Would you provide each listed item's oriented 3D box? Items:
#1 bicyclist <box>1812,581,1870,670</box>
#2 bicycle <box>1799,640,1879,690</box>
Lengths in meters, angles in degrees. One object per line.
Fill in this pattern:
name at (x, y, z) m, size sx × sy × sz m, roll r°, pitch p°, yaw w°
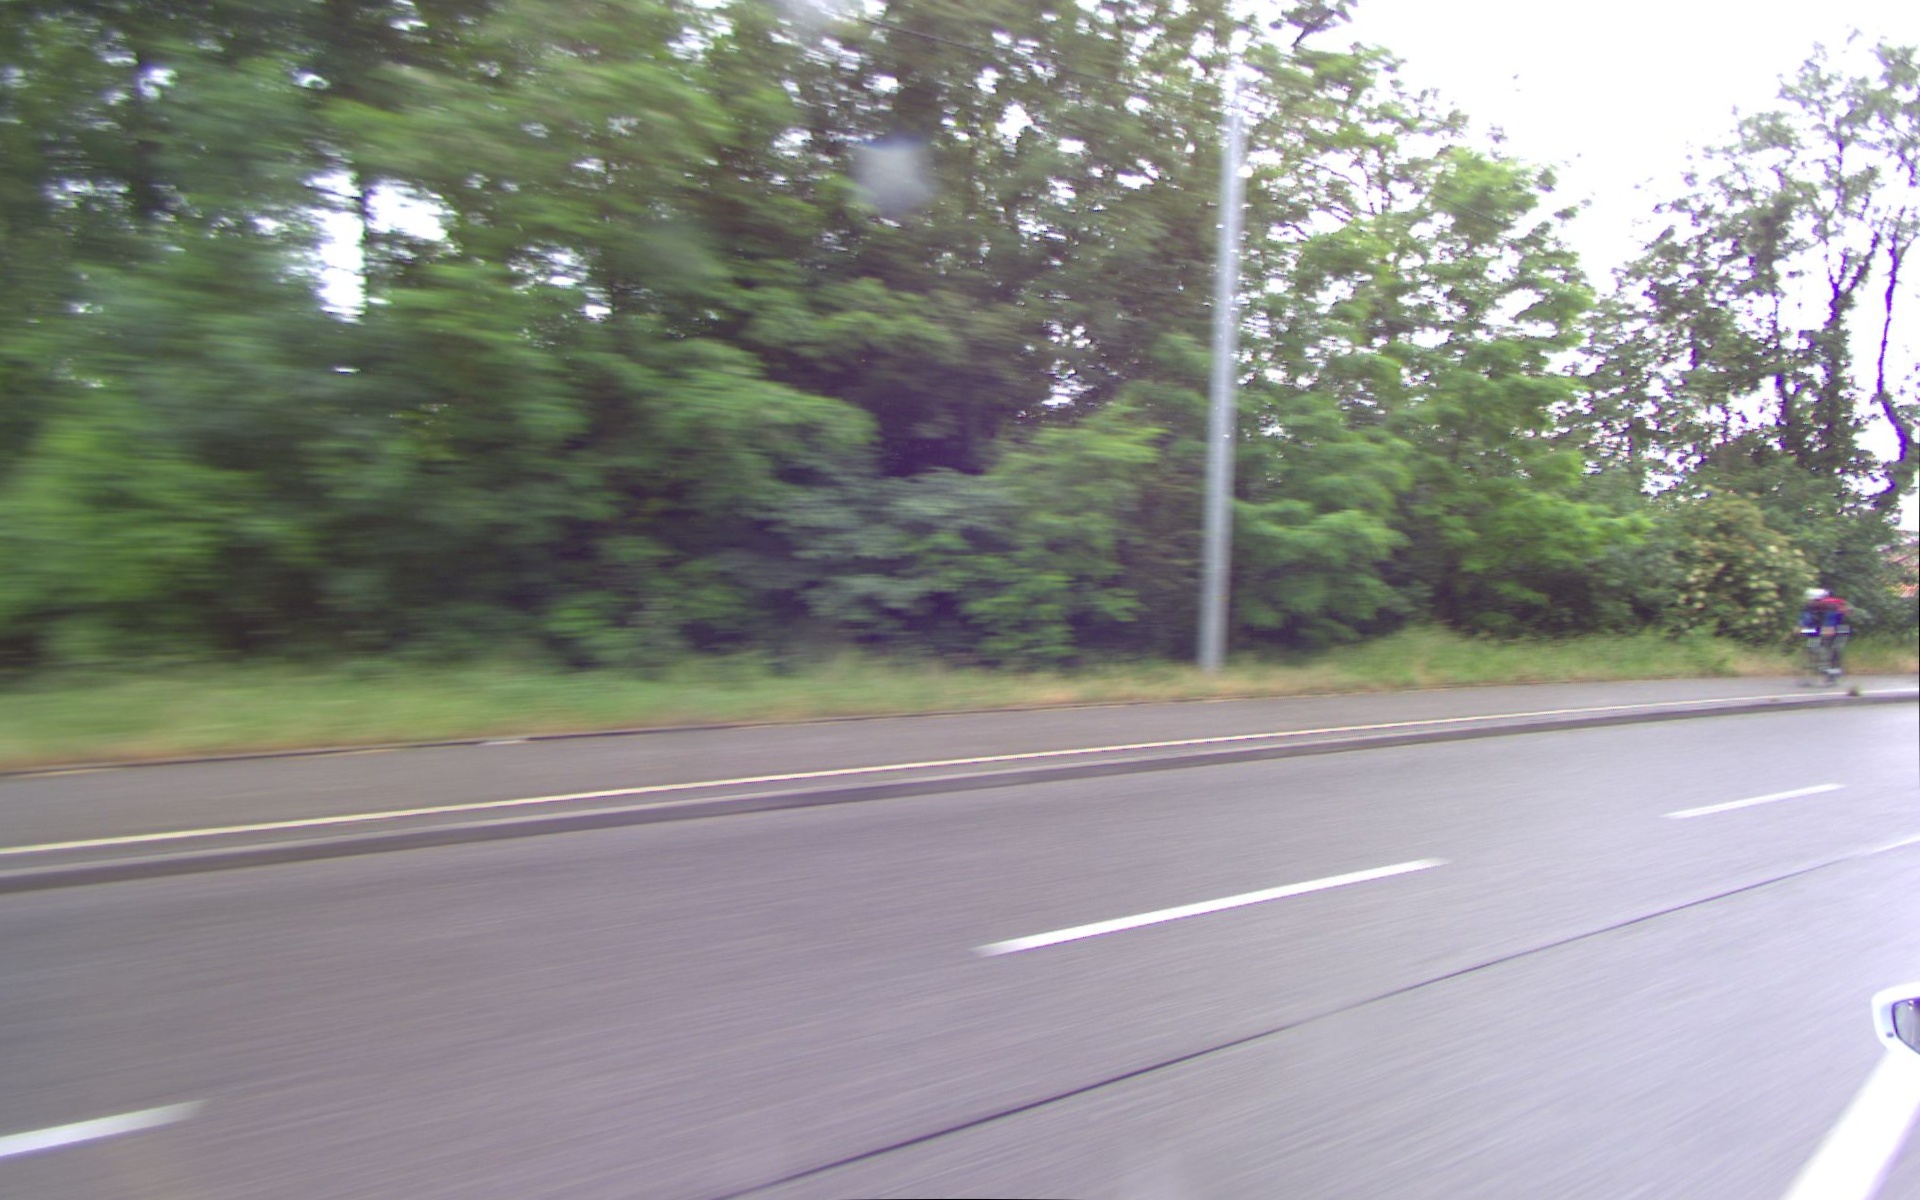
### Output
bicyclist at (16.139, 0.467, 18.401) m, size 1.281 × 1.595 × 0.334 m, roll 1°, pitch 0°, yaw -28°
bicycle at (16.112, 1.168, 18.402) m, size 2.066 × 0.860 × 0.354 m, roll 1°, pitch 1°, yaw -28°
